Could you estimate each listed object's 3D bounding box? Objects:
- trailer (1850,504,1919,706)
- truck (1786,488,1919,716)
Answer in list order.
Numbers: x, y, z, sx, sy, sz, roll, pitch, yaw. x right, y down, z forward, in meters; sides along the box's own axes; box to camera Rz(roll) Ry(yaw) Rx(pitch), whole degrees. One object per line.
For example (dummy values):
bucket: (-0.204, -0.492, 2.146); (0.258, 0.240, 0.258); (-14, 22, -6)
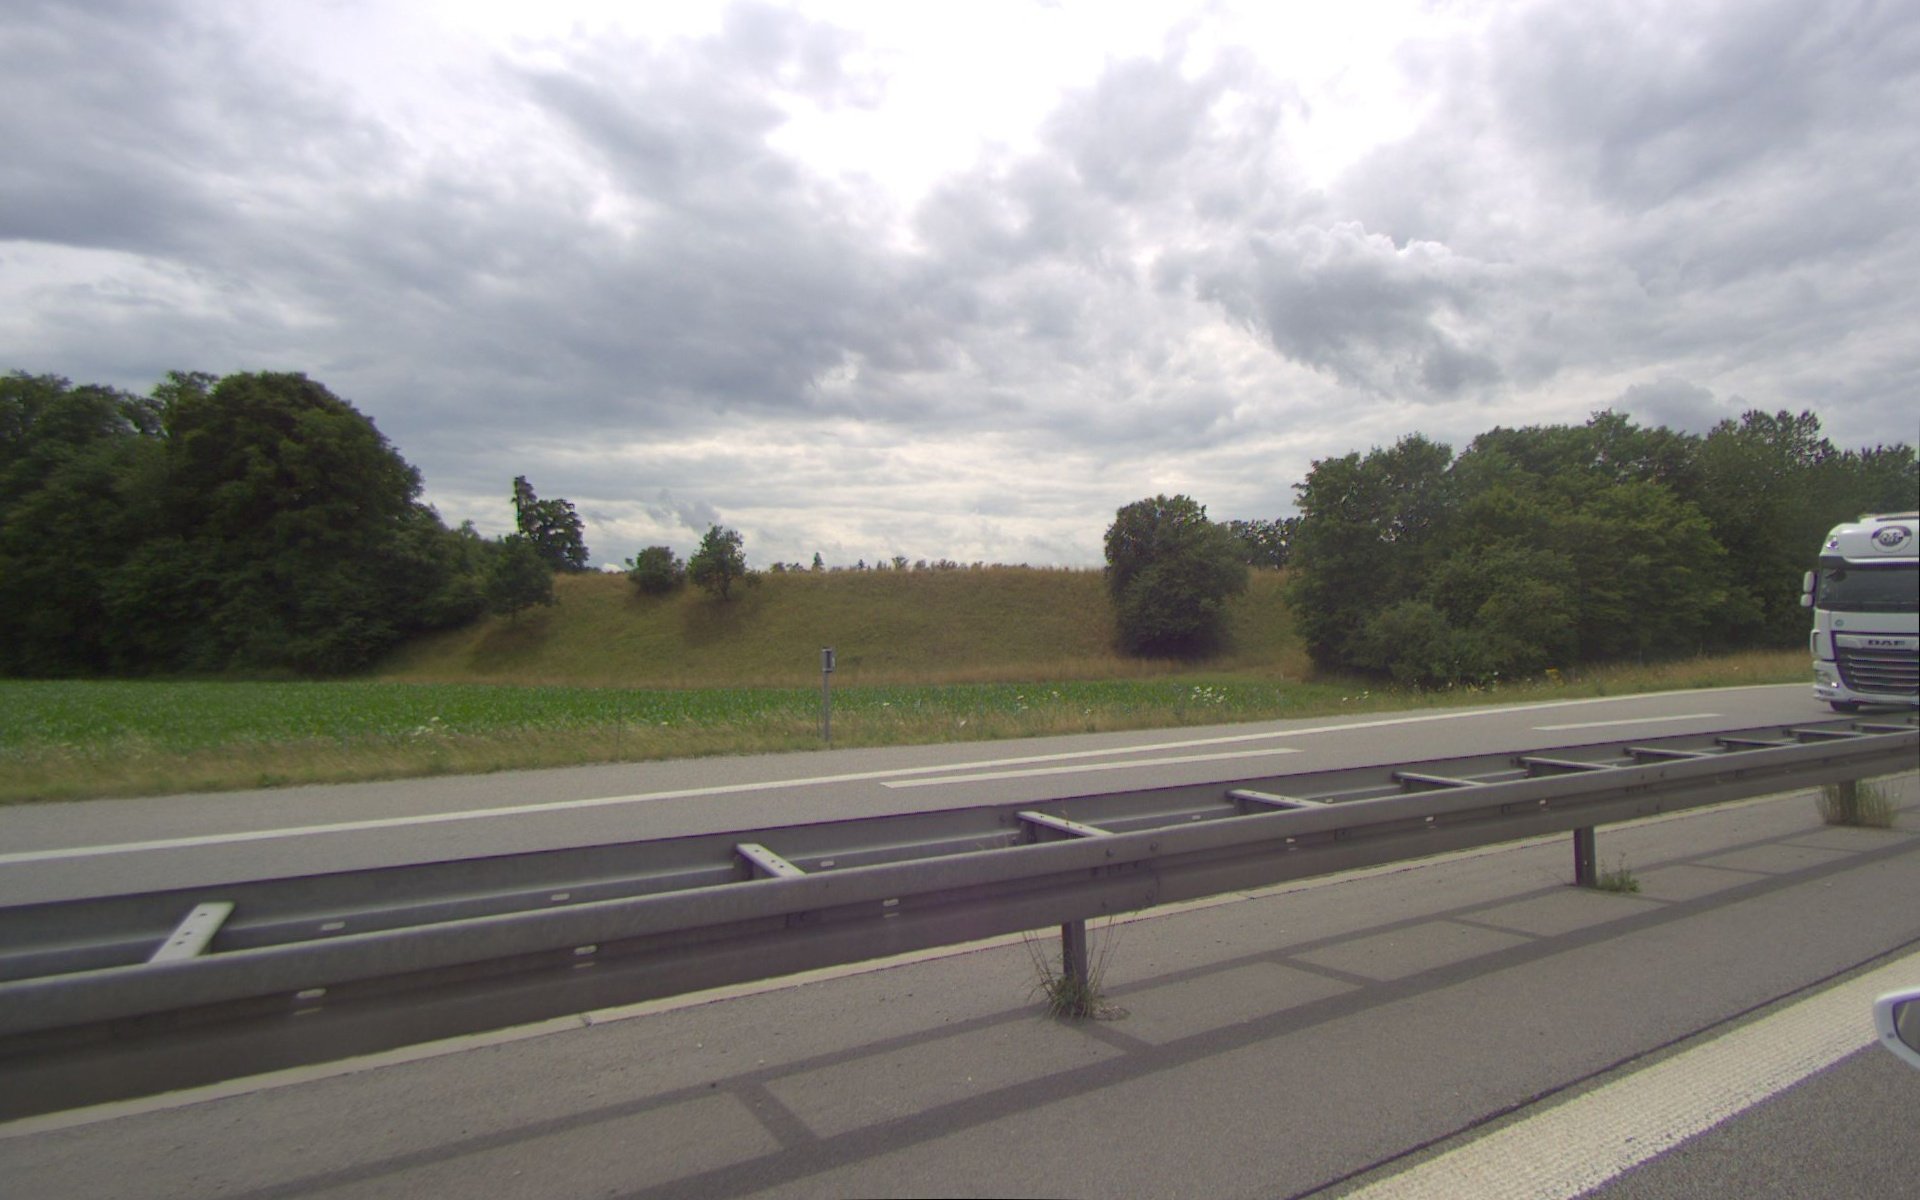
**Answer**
trailer: (25.942, 0.283, 24.120); (13.405, 4.228, 2.785); (2, 0, -31)
truck: (20.493, 0.127, 20.879); (7.144, 4.197, 2.785); (2, 0, -30)
